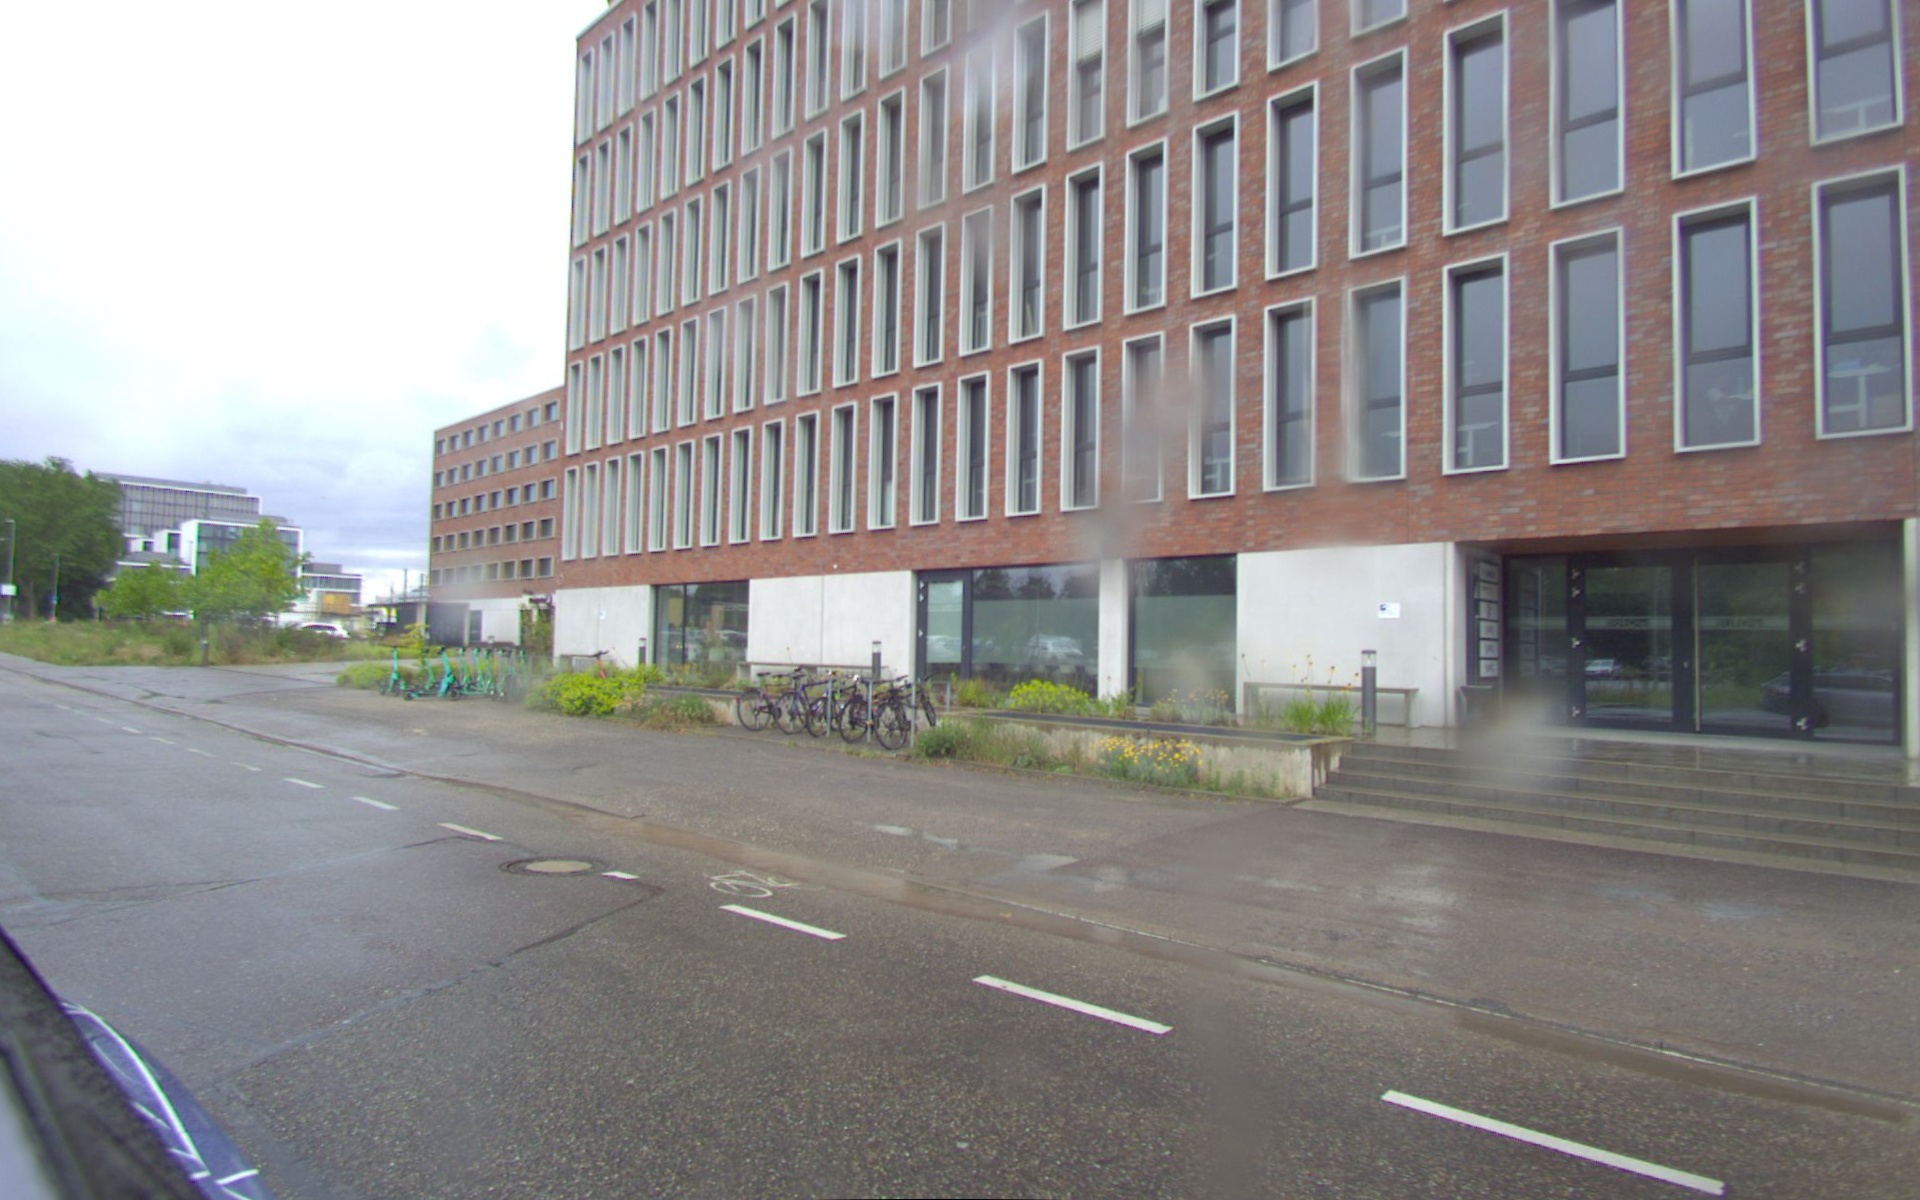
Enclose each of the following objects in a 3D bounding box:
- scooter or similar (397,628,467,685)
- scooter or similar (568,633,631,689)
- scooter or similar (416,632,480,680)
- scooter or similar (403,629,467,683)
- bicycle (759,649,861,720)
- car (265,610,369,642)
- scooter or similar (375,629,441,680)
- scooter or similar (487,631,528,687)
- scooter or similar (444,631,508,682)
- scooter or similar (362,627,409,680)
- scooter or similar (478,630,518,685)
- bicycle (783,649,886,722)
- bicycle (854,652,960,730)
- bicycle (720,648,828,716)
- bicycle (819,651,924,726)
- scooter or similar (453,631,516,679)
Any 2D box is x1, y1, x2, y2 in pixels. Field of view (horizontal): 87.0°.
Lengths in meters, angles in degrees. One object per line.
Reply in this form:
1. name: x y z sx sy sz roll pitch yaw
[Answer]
1. scooter or similar: -12.012 1.284 23.045 1.298 1.239 0.469 3 -3 -20
2. scooter or similar: -8.076 1.371 22.700 1.211 1.217 0.418 5 -4 -43
3. scooter or similar: -12.873 1.418 25.477 1.301 1.186 0.468 5 -4 -44
4. scooter or similar: -12.611 1.333 24.320 1.307 1.239 0.465 1 -3 12
5. bicycle: -2.533 1.411 17.264 0.544 1.085 1.841 0 -1 39
6. car: -36.202 1.473 57.070 1.997 1.653 4.478 0 -3 37
7. scooter or similar: -14.004 1.381 25.696 1.299 1.239 0.509 2 -3 -11
8. scooter or similar: -10.237 1.339 22.942 0.460 1.217 1.210 2 -3 -7
9. scooter or similar: -11.549 1.353 24.160 0.465 1.186 1.308 0 -3 28
10. scooter or similar: -13.961 1.296 24.599 1.319 1.239 0.461 0 -4 38
11. scooter or similar: -10.783 1.338 23.667 0.460 1.239 1.210 2 -3 -7
12. bicycle: -2.057 1.391 16.855 0.544 1.085 1.841 0 -1 39
13. bicycle: -0.789 1.381 15.696 0.544 1.085 1.841 0 -1 39
14. bicycle: -3.252 1.411 17.857 0.620 1.085 1.929 0 -1 39
15. bicycle: -1.390 1.390 16.246 0.544 1.085 1.841 0 -1 39
16. scooter or similar: -12.028 1.393 25.605 1.301 1.186 0.468 5 -4 -44
